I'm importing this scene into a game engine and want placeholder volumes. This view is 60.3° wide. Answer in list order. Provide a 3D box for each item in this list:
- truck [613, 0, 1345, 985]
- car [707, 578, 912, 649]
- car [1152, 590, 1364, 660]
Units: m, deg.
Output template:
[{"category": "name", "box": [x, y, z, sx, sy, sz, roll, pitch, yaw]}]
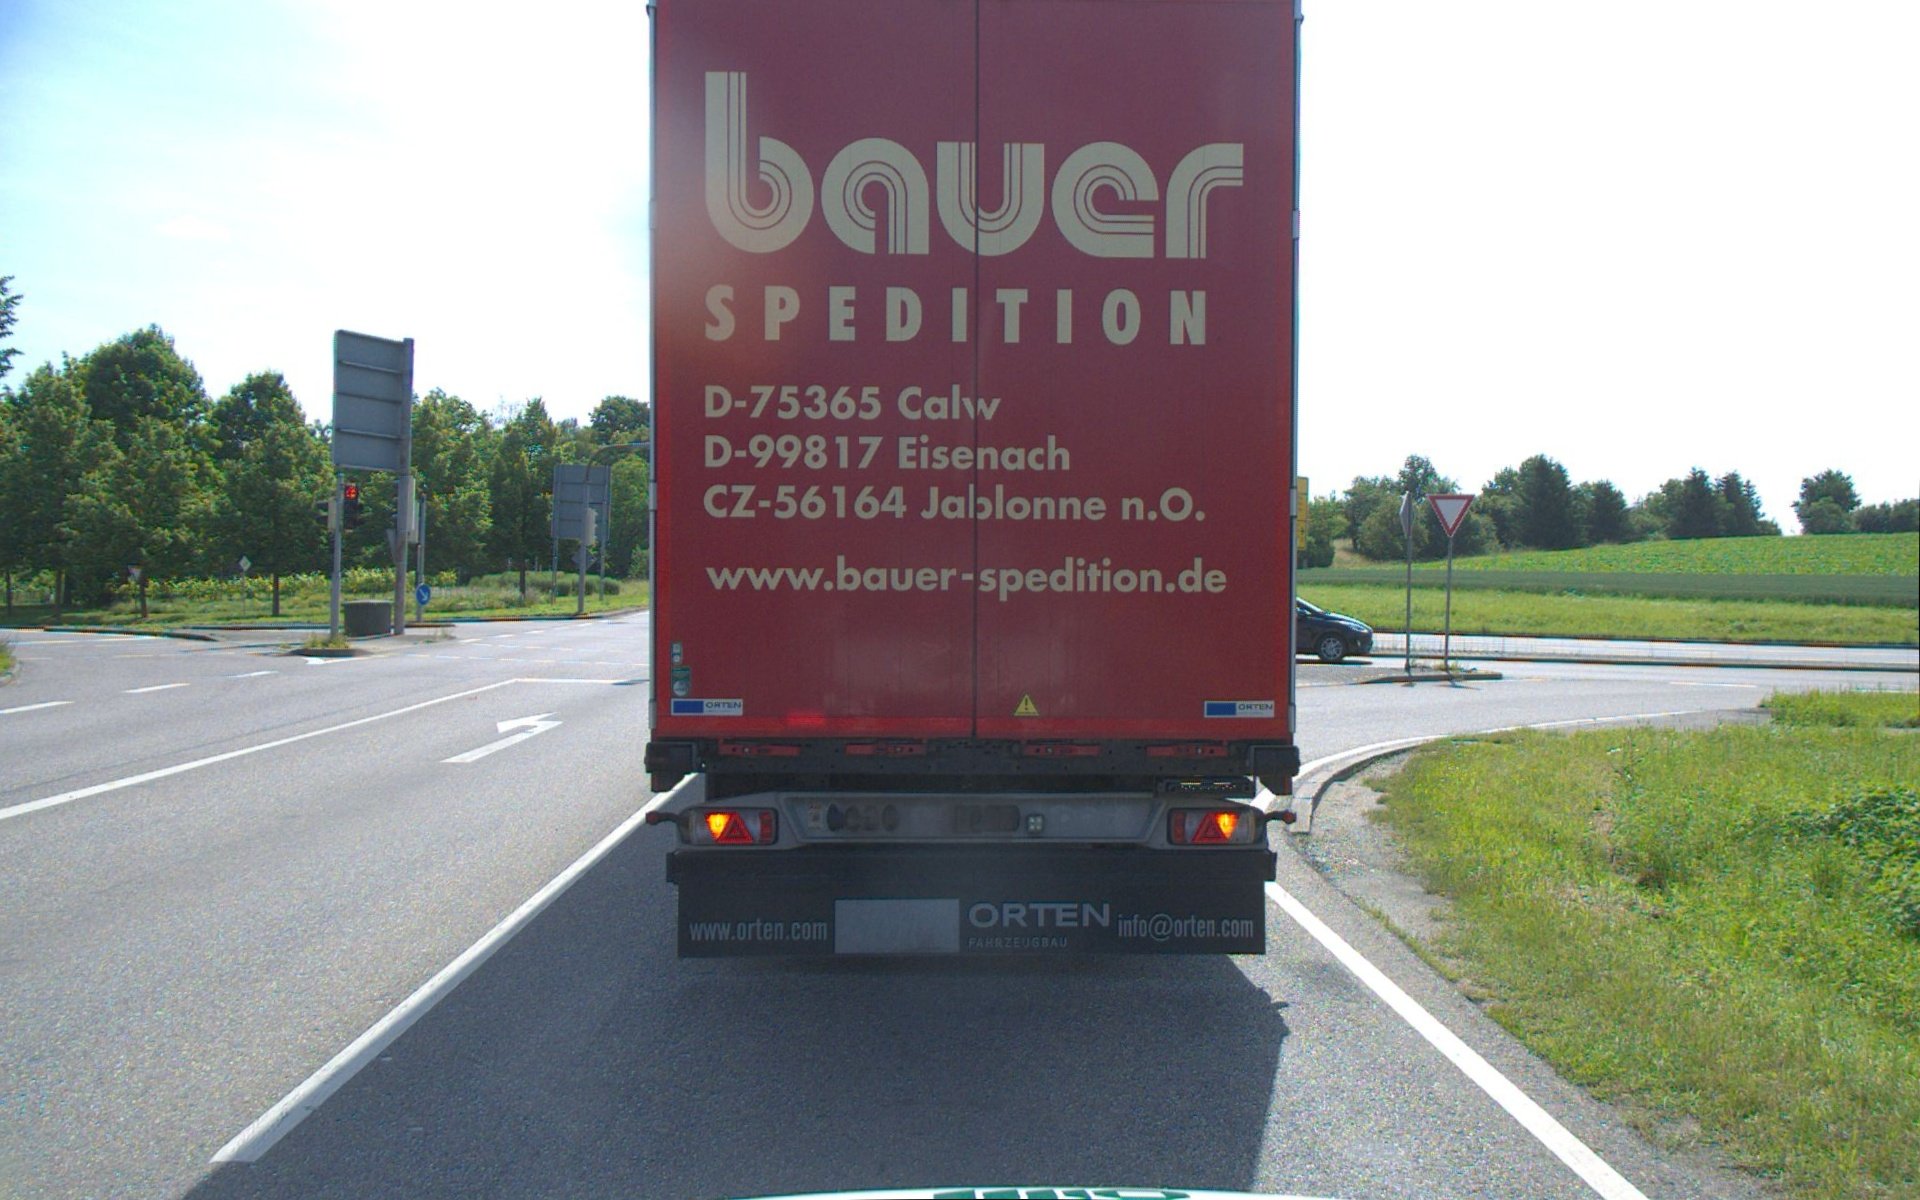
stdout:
[{"category": "truck", "box": [-0.077, -0.665, 14.452, 2.679, 3.993, 16.622, 1, 1, -1]}, {"category": "car", "box": [-3.318, 0.284, 36.681, 4.176, 1.454, 1.743, 1, 0, 13]}, {"category": "car", "box": [6.165, 0.502, 34.182, 4.176, 1.328, 1.743, 1, 0, 13]}]
